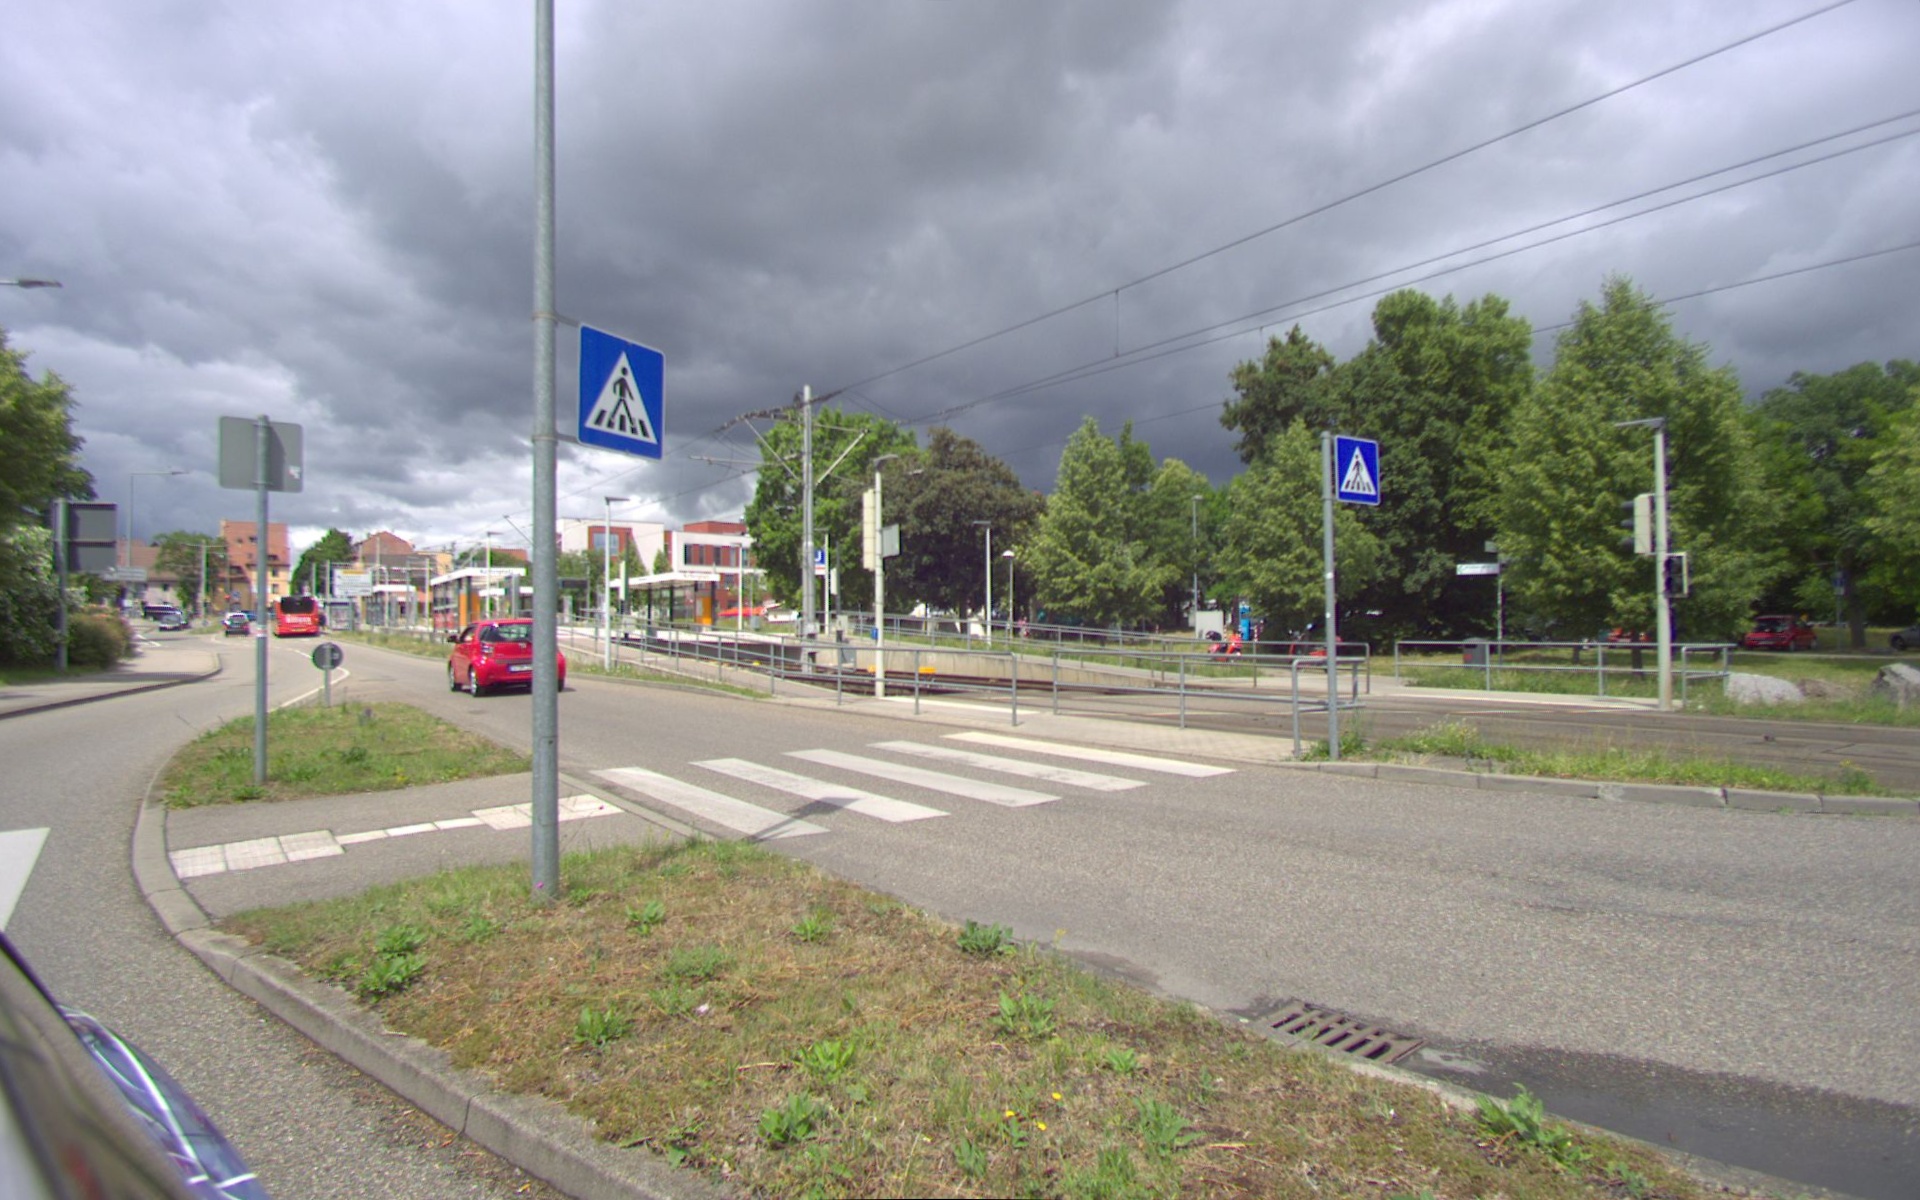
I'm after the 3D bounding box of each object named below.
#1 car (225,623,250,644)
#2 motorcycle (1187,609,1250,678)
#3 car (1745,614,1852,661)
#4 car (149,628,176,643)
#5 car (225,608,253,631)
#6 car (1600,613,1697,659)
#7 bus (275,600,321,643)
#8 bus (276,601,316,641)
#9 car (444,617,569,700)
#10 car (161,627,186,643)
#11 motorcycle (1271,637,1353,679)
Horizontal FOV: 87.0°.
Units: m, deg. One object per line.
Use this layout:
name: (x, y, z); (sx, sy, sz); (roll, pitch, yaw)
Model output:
car: (-58.053, 2.644, 81.313); (1.509, 1.563, 3.742); (-1, 0, -34)
motorcycle: (7.813, 1.297, 30.685); (0.821, 2.029, 1.989); (1, -2, -23)
car: (34.687, 1.533, 41.877); (3.931, 1.849, 2.006); (0, -3, -28)
car: (-80.167, 3.555, 101.798); (1.852, 1.440, 4.010); (1, -3, -34)
car: (-62.290, 1.722, 87.360); (1.739, 1.675, 4.514); (2, -6, -38)
car: (31.089, 1.619, 45.691); (3.931, 2.029, 1.933); (0, -3, -28)
bus: (-50.738, 1.653, 77.459); (2.689, 3.093, 8.986); (1, -2, -35)
bus: (-55.940, 1.790, 85.269); (2.689, 3.133, 9.730); (1, -2, -33)
car: (-9.087, 1.132, 20.184); (1.697, 1.514, 2.973); (1, -3, -36)
car: (-83.552, 3.717, 107.517); (1.967, 1.662, 4.429); (1, -3, -37)
motorcycle: (9.660, 1.575, 27.885); (0.719, 1.089, 2.222); (1, -2, -29)
